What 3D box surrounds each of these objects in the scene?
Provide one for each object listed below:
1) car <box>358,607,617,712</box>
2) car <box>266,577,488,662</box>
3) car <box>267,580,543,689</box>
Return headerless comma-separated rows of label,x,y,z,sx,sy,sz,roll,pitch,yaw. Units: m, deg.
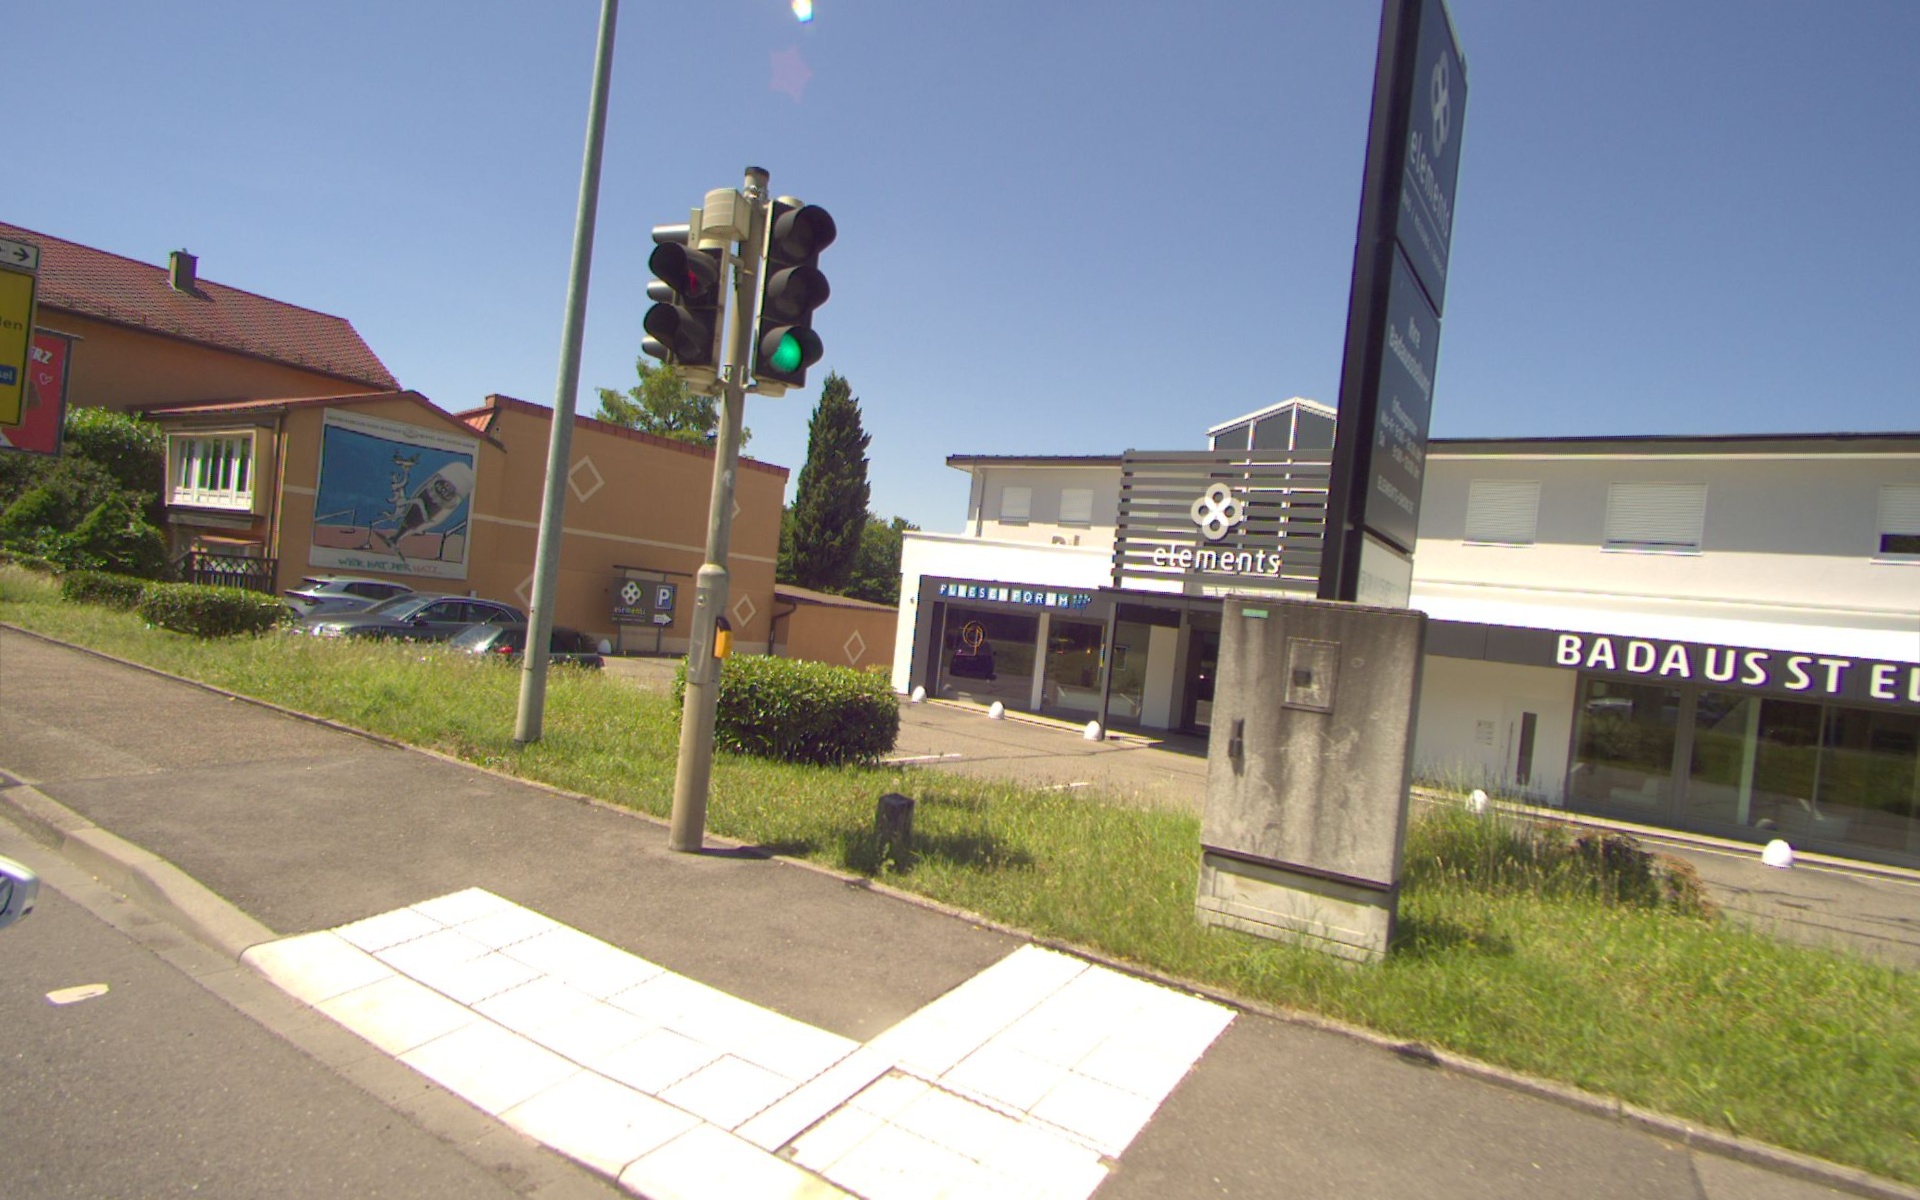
car,-8.126,1.081,17.559,1.673,1.433,3.623,6,-2,37
car,-14.251,0.517,24.776,1.862,1.618,4.257,6,-1,39
car,-10.813,0.758,19.910,1.859,1.666,4.278,7,-2,33
